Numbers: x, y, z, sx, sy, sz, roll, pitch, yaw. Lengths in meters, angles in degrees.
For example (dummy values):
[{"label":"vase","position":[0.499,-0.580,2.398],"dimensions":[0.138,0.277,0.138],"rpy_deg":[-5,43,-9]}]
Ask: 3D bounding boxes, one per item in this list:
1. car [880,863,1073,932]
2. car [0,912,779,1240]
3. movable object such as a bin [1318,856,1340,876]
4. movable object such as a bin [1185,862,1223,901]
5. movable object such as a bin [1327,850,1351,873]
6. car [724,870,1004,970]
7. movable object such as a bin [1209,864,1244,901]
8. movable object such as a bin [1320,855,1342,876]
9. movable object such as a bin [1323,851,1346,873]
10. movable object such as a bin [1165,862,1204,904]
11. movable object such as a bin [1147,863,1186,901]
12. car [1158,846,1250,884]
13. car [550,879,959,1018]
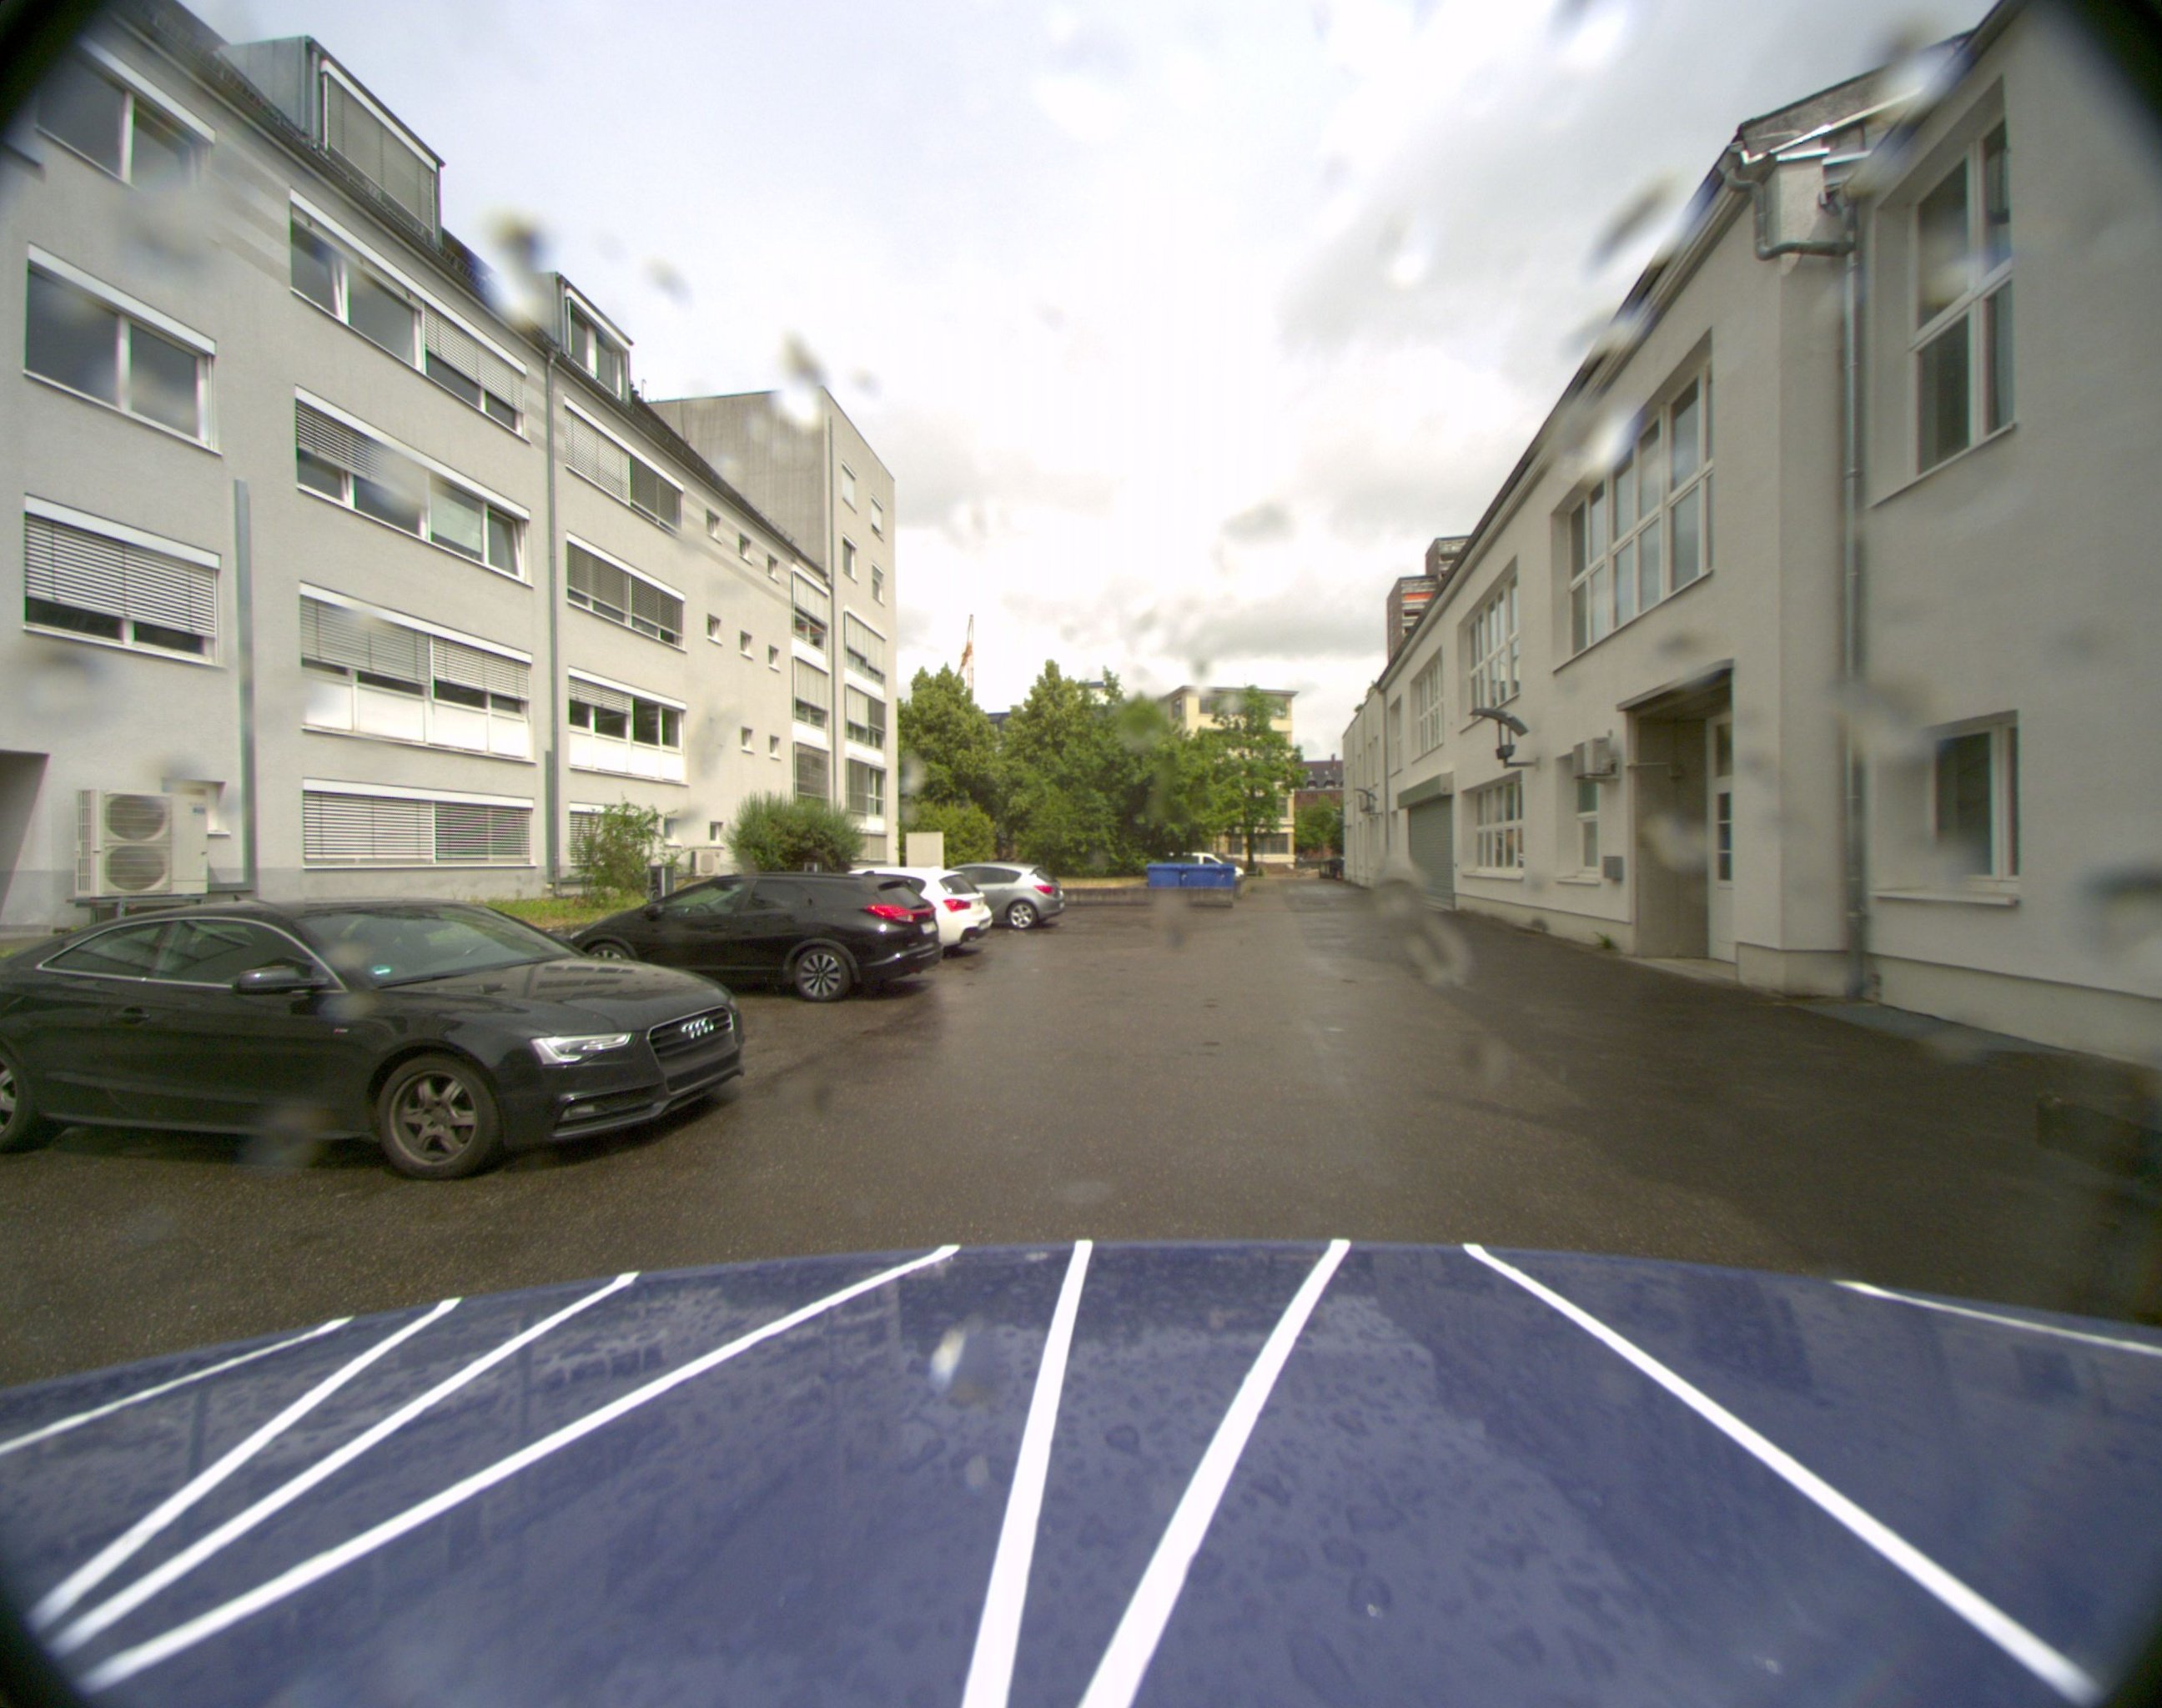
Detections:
[{"label":"car","position":[-2.347,0.958,17.576],"dimensions":[4.087,1.450,1.669],"rpy_deg":[0,1,10]},{"label":"car","position":[-4.382,1.092,4.606],"dimensions":[4.362,1.340,1.861],"rpy_deg":[0,0,7]},{"label":"movable object such as a bin","position":[18.428,0.880,56.547],"dimensions":[1.411,1.462,1.562],"rpy_deg":[-2,-1,13]},{"label":"movable object such as a bin","position":[4.260,0.943,26.244],"dimensions":[1.231,1.309,1.057],"rpy_deg":[0,0,13]},{"label":"movable object such as a bin","position":[17.107,0.521,50.428],"dimensions":[1.361,1.462,1.367],"rpy_deg":[-2,-1,13]},{"label":"car","position":[-3.527,1.031,12.717],"dimensions":[4.105,1.447,1.834],"rpy_deg":[0,0,9]},{"label":"movable object such as a bin","position":[5.362,1.046,27.880],"dimensions":[1.176,1.309,1.057],"rpy_deg":[-2,-1,13]},{"label":"movable object such as a bin","position":[18.062,0.821,54.905],"dimensions":[1.361,1.462,1.467],"rpy_deg":[-2,-1,13]},{"label":"movable object such as a bin","position":[17.371,0.550,52.136],"dimensions":[1.361,1.462,1.367],"rpy_deg":[-2,-1,13]},{"label":"movable object such as a bin","position":[3.839,1.067,27.992],"dimensions":[1.277,1.474,1.103],"rpy_deg":[-2,-1,13]},{"label":"movable object such as a bin","position":[2.996,0.965,26.556],"dimensions":[1.231,1.309,1.057],"rpy_deg":[0,0,13]},{"label":"car","position":[7.038,0.639,43.318],"dimensions":[4.943,2.002,2.002],"rpy_deg":[-1,0,17]},{"label":"car","position":[-3.812,1.048,9.321],"dimensions":[4.178,1.393,1.940],"rpy_deg":[0,1,7]}]
